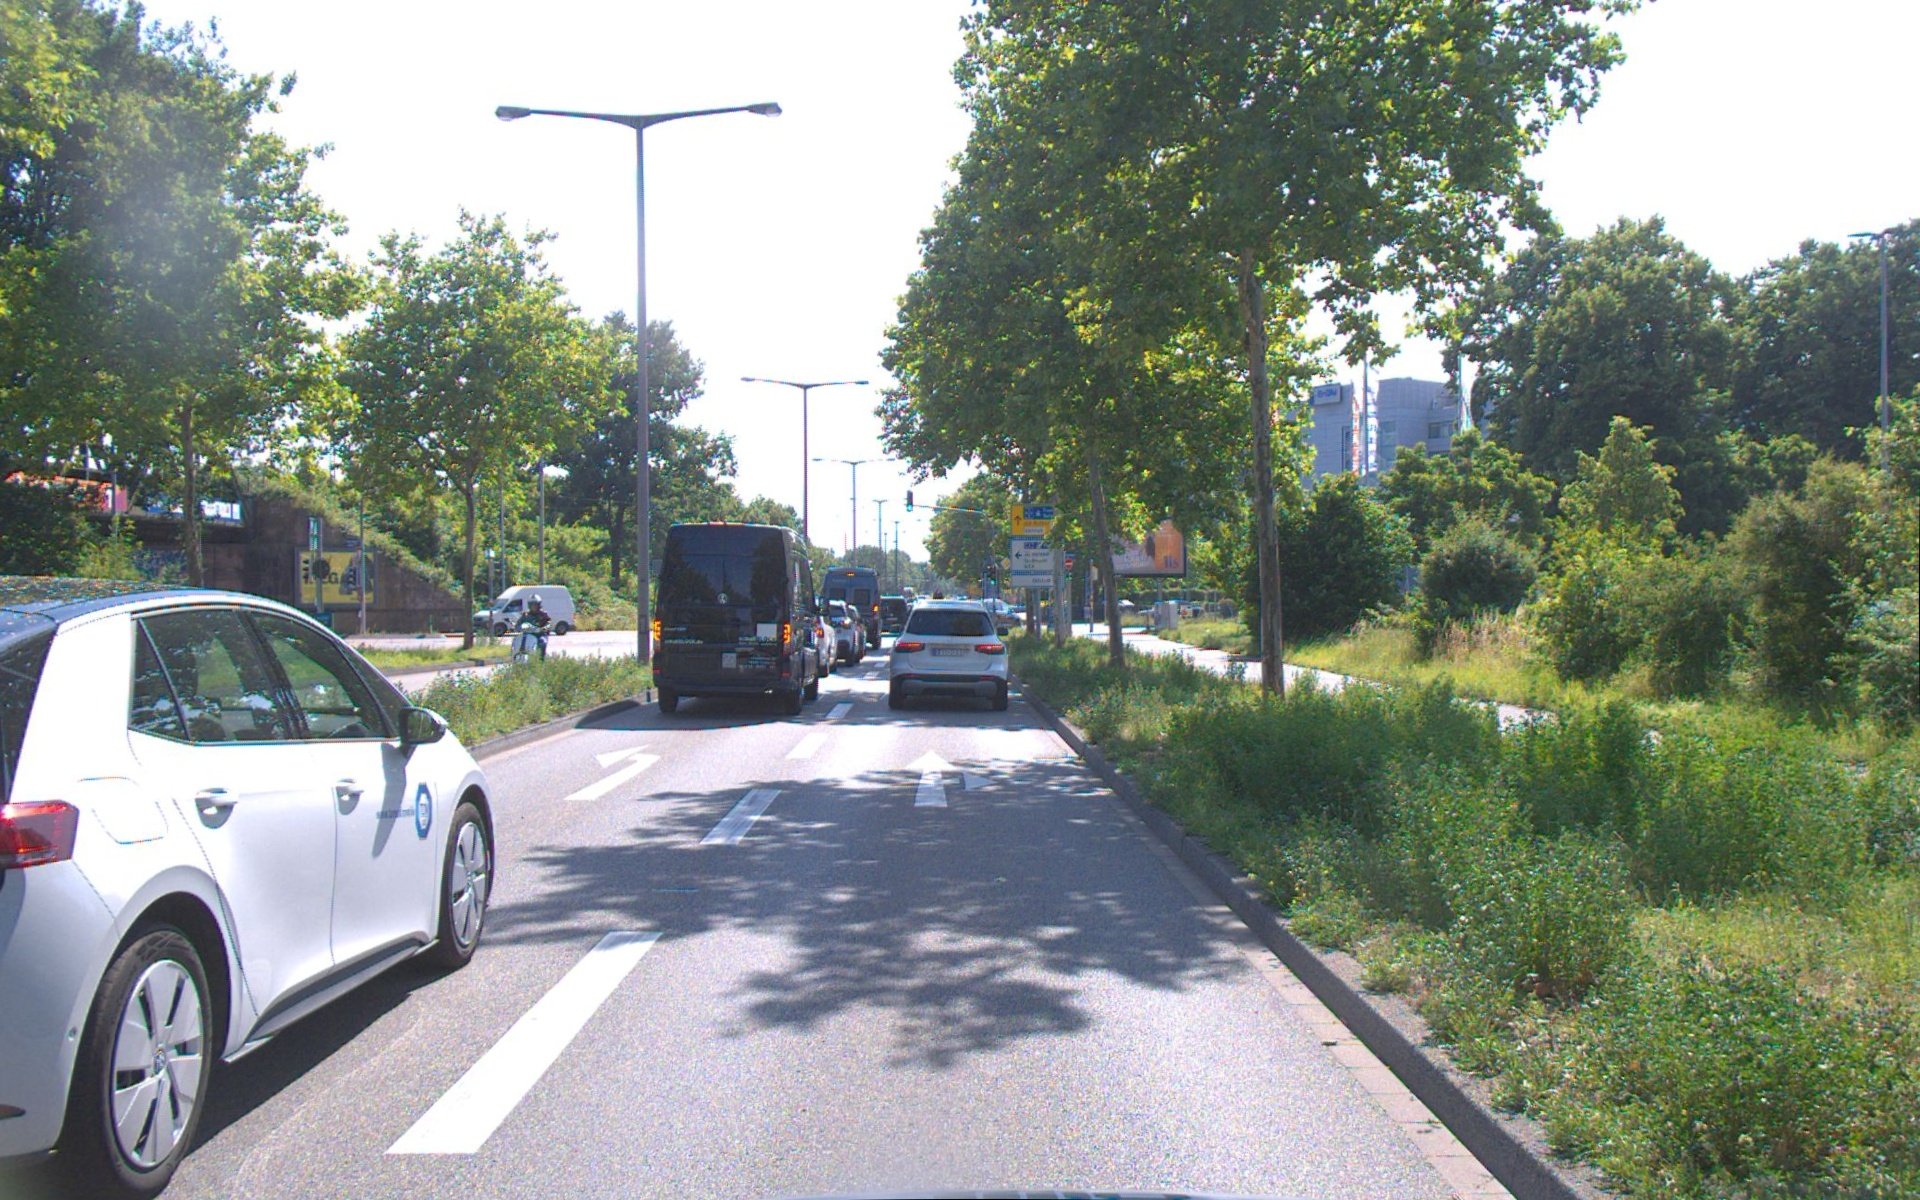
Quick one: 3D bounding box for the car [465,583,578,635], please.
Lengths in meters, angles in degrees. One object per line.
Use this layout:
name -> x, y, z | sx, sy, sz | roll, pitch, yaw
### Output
car -> -21.440, 0.445, 81.038 | 1.967, 2.461, 5.102 | 0, 0, 45

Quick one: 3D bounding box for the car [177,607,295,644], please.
car -> -29.947, 1.019, 68.442 | 4.282, 1.451, 1.467 | 0, 0, -36

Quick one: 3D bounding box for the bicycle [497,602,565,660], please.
bicycle -> -8.228, 0.583, 31.822 | 0.713, 1.047, 2.216 | 2, 0, -1

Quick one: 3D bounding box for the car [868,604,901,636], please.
car -> -3.518, 0.934, 77.526 | 1.434, 1.428, 3.476 | 1, 0, -1

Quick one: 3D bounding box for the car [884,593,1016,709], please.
car -> -0.235, 0.745, 26.177 | 1.817, 1.635, 3.997 | 2, 0, -4

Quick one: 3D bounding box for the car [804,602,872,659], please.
car -> -3.472, 0.850, 47.605 | 1.657, 1.531, 3.885 | 2, 0, -1

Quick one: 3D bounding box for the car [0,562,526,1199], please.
car -> -2.843, 0.694, 5.370 | 1.782, 1.548, 4.207 | 1, 0, -1

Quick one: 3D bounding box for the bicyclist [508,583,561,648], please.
bicyclist -> -8.215, 0.303, 31.930 | 0.713, 1.211, 1.101 | 2, -1, -1

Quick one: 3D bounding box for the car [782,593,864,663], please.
car -> -3.406, 0.687, 41.777 | 1.735, 1.676, 4.084 | 1, 0, 0

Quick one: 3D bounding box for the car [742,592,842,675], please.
car -> -3.586, 0.693, 35.919 | 1.735, 1.676, 4.351 | 1, 0, 0

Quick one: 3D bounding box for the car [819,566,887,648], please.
car -> -3.694, 0.255, 57.784 | 2.039, 2.703, 4.873 | 1, 0, 0

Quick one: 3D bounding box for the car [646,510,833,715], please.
car -> -3.139, 0.187, 24.825 | 1.975, 2.653, 6.167 | 1, 0, 0
